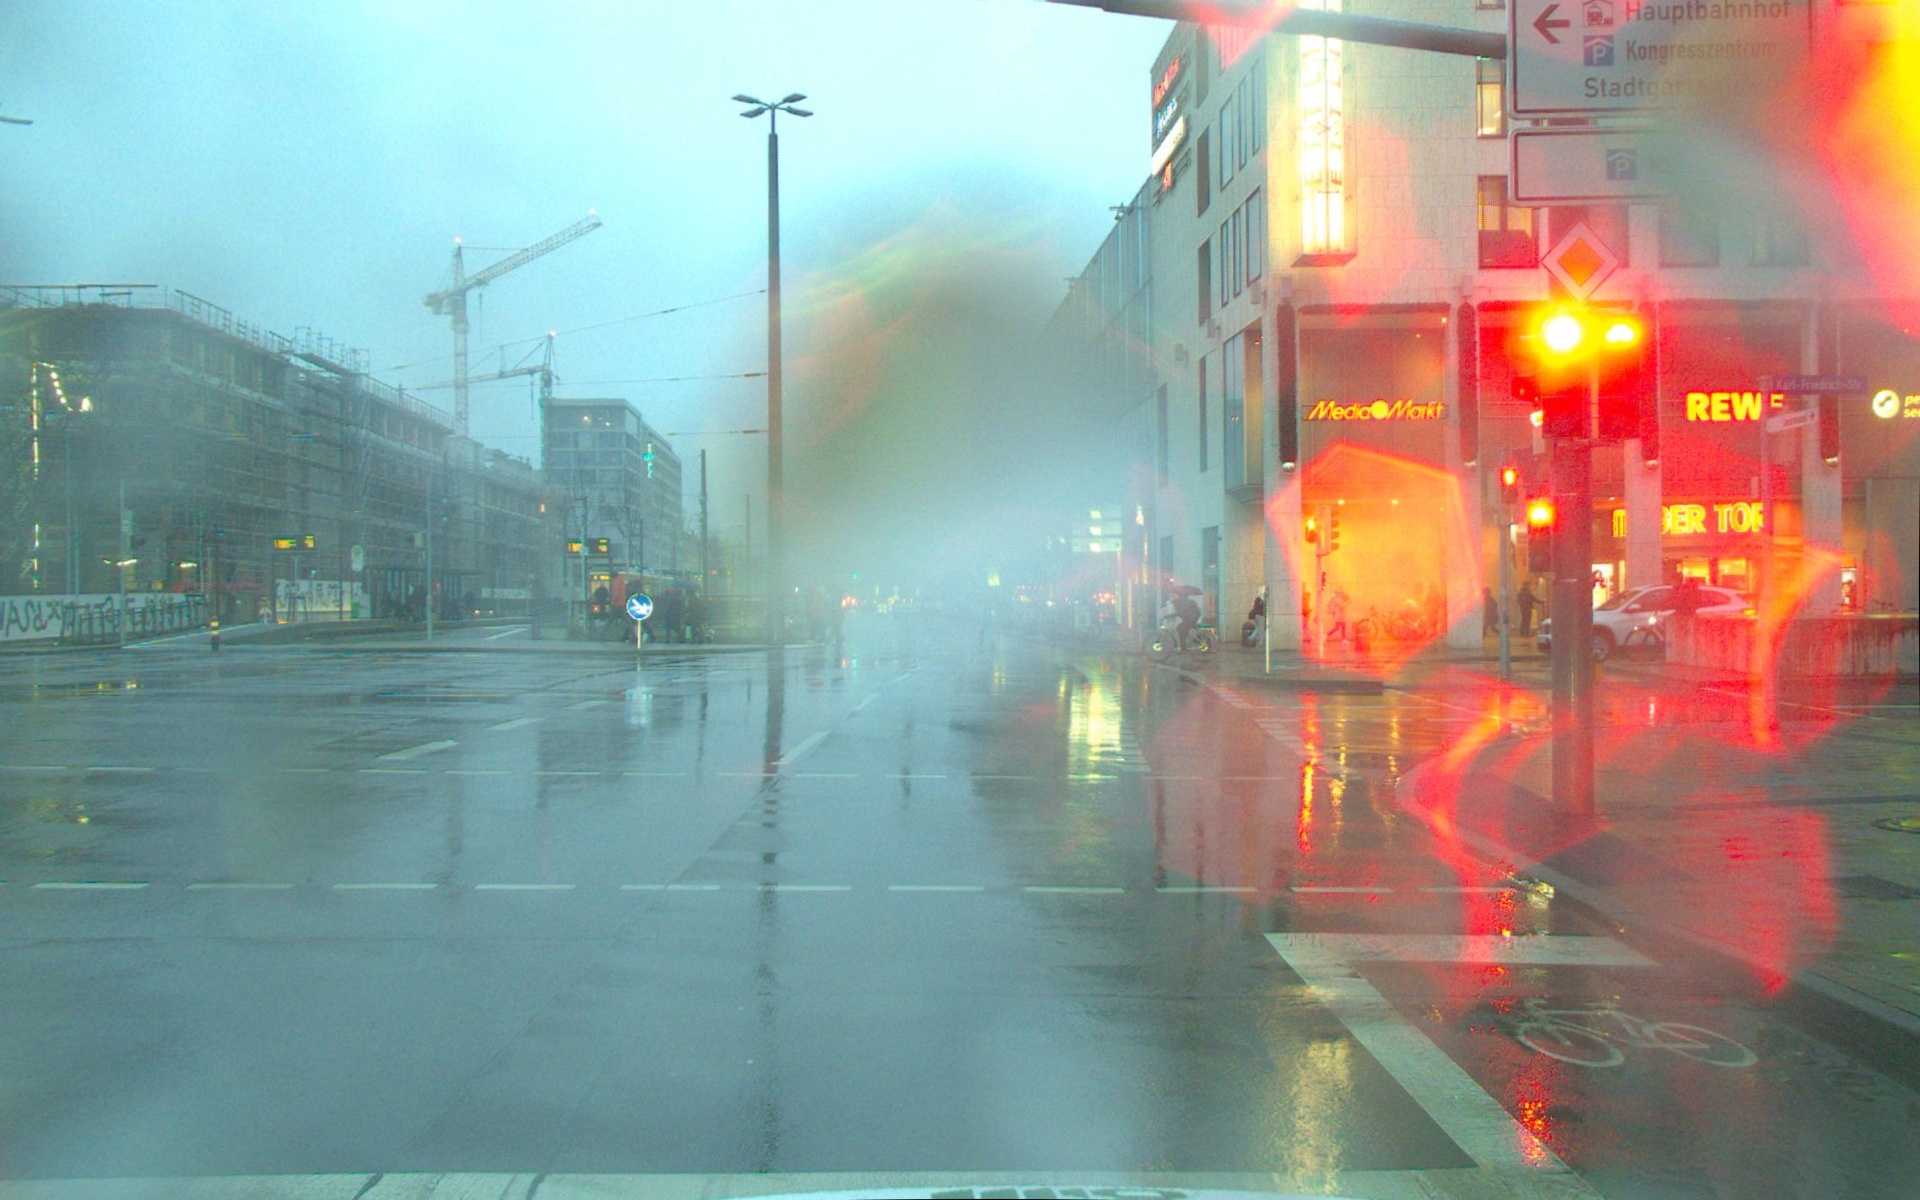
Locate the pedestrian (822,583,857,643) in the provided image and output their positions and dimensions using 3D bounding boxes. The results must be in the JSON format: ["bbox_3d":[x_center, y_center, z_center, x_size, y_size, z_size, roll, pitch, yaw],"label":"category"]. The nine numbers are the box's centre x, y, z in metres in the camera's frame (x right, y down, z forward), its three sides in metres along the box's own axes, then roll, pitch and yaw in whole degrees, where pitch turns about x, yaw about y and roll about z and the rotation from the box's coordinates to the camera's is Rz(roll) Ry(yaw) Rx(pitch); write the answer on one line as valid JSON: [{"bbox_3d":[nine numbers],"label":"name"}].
[{"bbox_3d":[-3.460,0.373,47.525,0.825,1.718,0.678,-1,0,14],"label":"pedestrian"}]

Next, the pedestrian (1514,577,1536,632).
[{"bbox_3d":[18.251,0.151,53.421,0.526,1.748,0.500,-1,0,37],"label":"pedestrian"}]

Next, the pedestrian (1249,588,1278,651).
[{"bbox_3d":[8.806,0.561,48.042,0.688,1.791,0.667,-1,0,-1],"label":"pedestrian"}]

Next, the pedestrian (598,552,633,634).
[{"bbox_3d":[-8.993,-0.190,43.145,0.682,2.124,0.604,0,0,-41],"label":"pedestrian"}]

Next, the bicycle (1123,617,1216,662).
[{"bbox_3d":[4.827,0.904,38.182,2.085,1.009,0.541,1,-1,0],"label":"bicycle"}]

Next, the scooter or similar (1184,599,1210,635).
[{"bbox_3d":[6.792,0.487,47.407,0.725,1.011,0.401,-1,0,11],"label":"scooter or similar"}]

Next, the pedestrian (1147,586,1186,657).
[{"bbox_3d":[4.763,0.492,38.174,0.798,1.597,0.536,-1,0,-1],"label":"pedestrian"}]

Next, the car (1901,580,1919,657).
[{"bbox_3d":[22.144,0.355,34.630,3.969,1.610,1.675,-1,-1,-3],"label":"car"}]

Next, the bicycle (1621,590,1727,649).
[{"bbox_3d":[13.848,0.378,32.108,1.806,1.112,0.618,-1,0,14],"label":"bicycle"}]

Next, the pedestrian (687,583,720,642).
[{"bbox_3d":[-7.119,0.345,45.940,0.793,1.635,0.745,-1,0,-1],"label":"pedestrian"}]

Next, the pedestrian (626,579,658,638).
[{"bbox_3d":[-8.963,0.247,46.594,0.699,1.647,0.673,-1,0,-31],"label":"pedestrian"}]

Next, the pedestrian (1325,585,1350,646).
[{"bbox_3d":[11.240,0.466,49.213,0.605,1.791,0.482,-1,0,-1],"label":"pedestrian"}]

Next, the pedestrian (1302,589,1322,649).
[{"bbox_3d":[10.683,0.574,50.146,0.501,1.791,0.374,-1,0,-1],"label":"pedestrian"}]

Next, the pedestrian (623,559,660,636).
[{"bbox_3d":[-8.507,-0.071,44.130,0.770,2.049,0.604,0,0,-39],"label":"pedestrian"}]

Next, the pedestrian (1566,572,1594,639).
[{"bbox_3d":[15.886,0.141,42.378,0.526,1.715,0.547,-1,0,37],"label":"pedestrian"}]

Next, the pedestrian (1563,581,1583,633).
[{"bbox_3d":[20.957,0.239,56.557,0.526,1.748,0.500,-1,0,37],"label":"pedestrian"}]

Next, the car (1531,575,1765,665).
[{"bbox_3d":[14.423,0.417,34.837,4.213,1.792,1.707,-1,0,2],"label":"car"}]

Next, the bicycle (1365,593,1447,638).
[{"bbox_3d":[13.752,0.470,50.981,2.378,1.352,0.634,0,0,-6],"label":"bicycle"}]

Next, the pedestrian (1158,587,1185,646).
[{"bbox_3d":[6.078,0.478,47.539,0.725,1.696,0.401,-1,0,11],"label":"pedestrian"}]

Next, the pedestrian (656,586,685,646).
[{"bbox_3d":[-8.019,0.434,45.811,0.692,1.647,0.612,-1,0,-3],"label":"pedestrian"}]

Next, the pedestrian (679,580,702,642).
[{"bbox_3d":[-7.811,0.323,47.879,0.607,1.776,0.612,-1,0,-6],"label":"pedestrian"}]

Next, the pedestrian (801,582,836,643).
[{"bbox_3d":[-4.013,0.352,46.954,0.813,1.709,0.620,-1,0,17],"label":"pedestrian"}]

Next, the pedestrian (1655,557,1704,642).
[{"bbox_3d":[13.962,-0.003,32.090,0.764,1.623,0.613,-1,0,14],"label":"pedestrian"}]

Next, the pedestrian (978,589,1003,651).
[{"bbox_3d":[0.884,0.578,48.458,0.688,1.791,0.652,-1,0,-1],"label":"pedestrian"}]

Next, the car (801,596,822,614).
[{"bbox_3d":[-15.729,0.521,175.288,1.850,1.814,3.713,1,-1,-1],"label":"car"}]
